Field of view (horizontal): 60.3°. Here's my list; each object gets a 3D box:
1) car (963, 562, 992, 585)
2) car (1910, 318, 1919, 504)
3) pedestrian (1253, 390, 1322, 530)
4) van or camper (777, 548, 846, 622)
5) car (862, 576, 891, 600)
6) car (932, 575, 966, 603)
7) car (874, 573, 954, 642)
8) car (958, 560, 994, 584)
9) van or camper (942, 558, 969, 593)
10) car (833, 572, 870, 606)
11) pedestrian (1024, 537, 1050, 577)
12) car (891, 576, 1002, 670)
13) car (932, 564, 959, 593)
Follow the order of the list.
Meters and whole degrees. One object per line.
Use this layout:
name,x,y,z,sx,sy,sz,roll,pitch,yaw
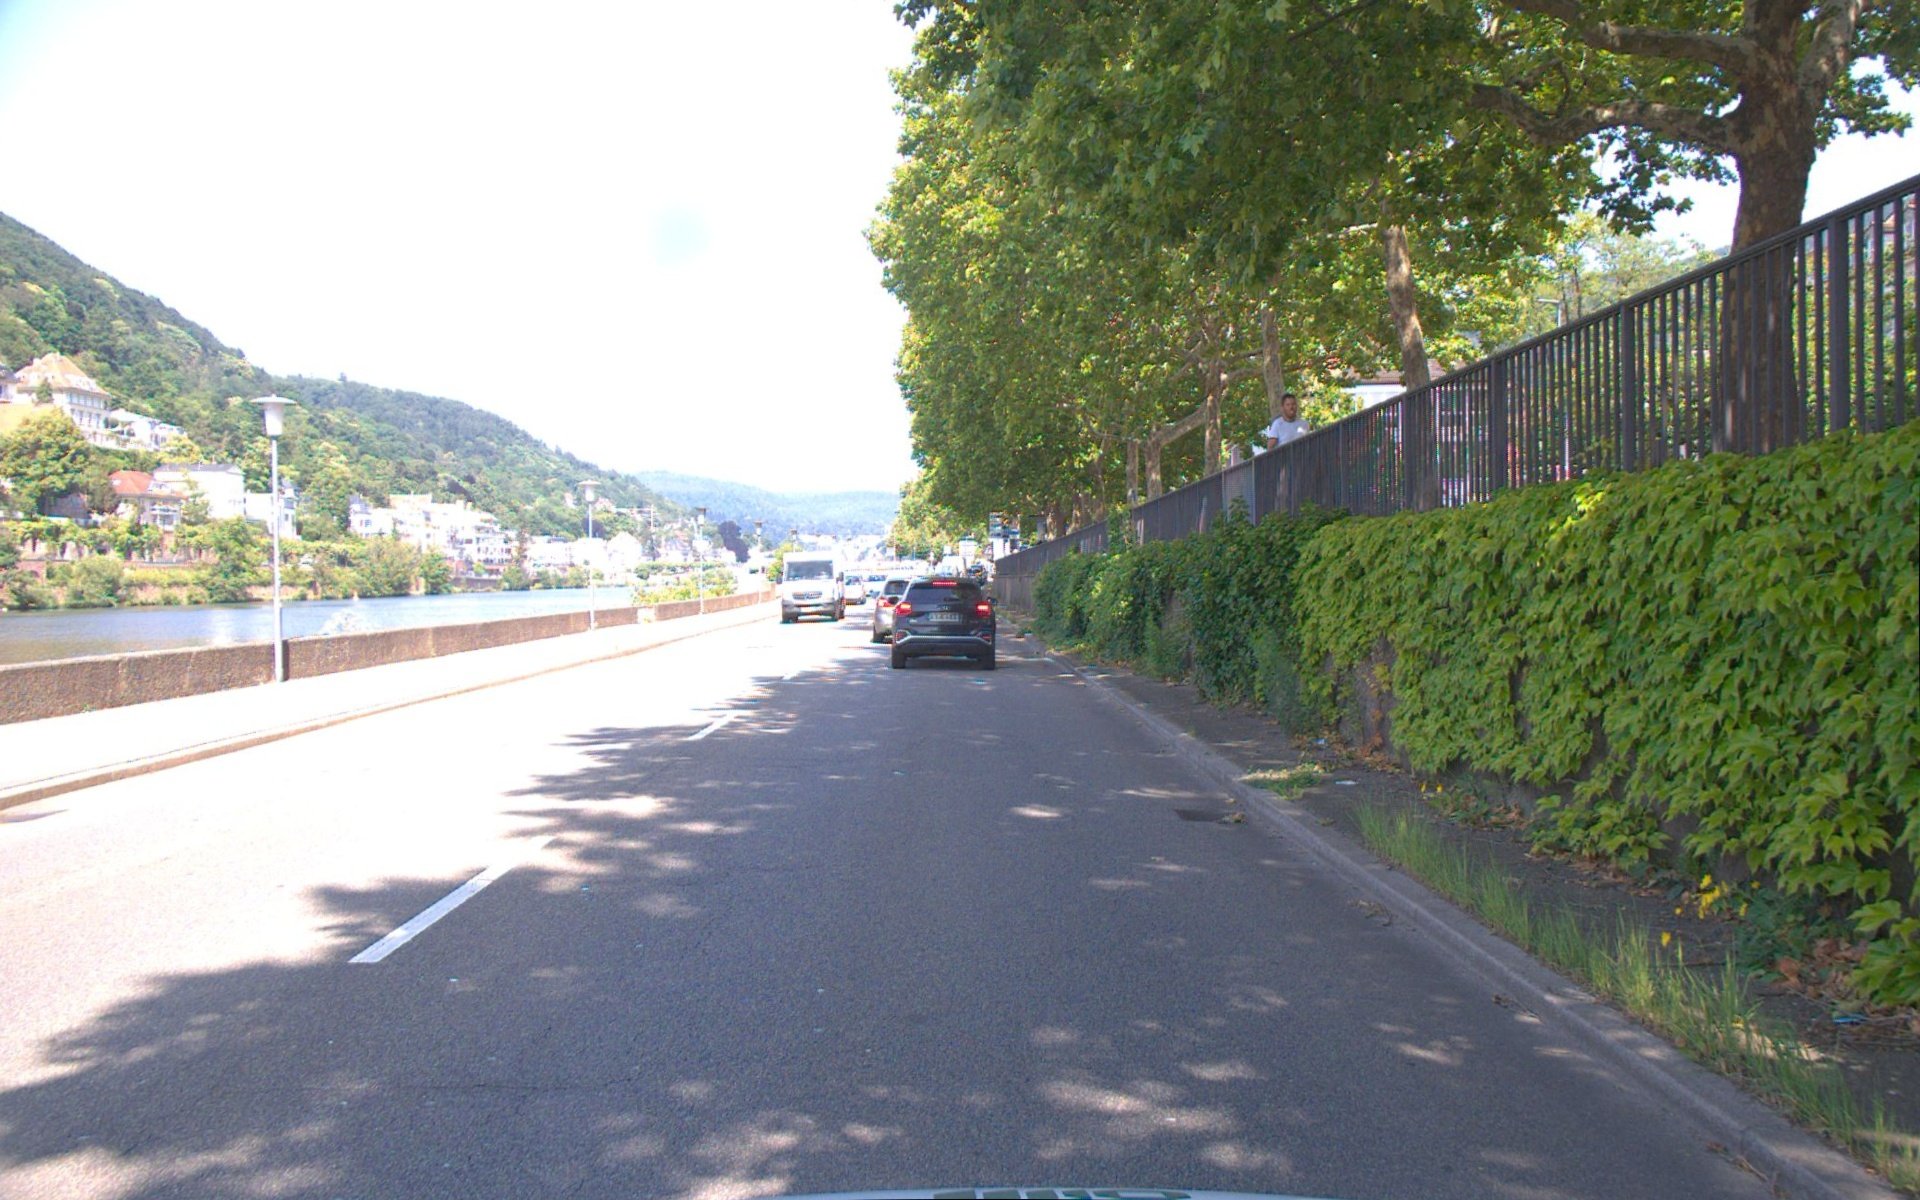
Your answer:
car,1.686,-2.606,163.782,2.608,2.048,5.823,-3,1,-2
car,7.732,-1.173,9.501,3.657,1.134,1.649,-1,1,-4
pedestrian,3.916,-1.664,19.816,0.651,1.619,0.650,-1,1,-1
van or camper,-5.165,-0.549,58.235,2.035,2.440,5.384,-1,1,-1
car,-5.440,-0.814,107.919,1.696,1.467,4.044,-2,1,-2
car,-0.625,-0.614,91.472,1.791,1.469,3.999,-1,1,-2
car,-1.077,0.131,38.961,1.791,1.537,3.999,0,1,-2
car,1.448,-2.603,153.481,3.036,2.048,5.823,-3,1,-2
van or camper,-0.367,-2.097,141.957,2.262,2.897,4.246,-1,1,0
car,-5.699,-0.604,87.375,1.696,1.678,4.176,-2,1,-2
pedestrian,3.263,-1.810,69.856,0.918,1.607,1.027,-3,1,-3
car,-0.279,0.342,28.820,1.791,1.512,3.999,0,1,-2
car,-1.158,-1.685,129.665,1.953,2.207,3.999,1,1,-2
